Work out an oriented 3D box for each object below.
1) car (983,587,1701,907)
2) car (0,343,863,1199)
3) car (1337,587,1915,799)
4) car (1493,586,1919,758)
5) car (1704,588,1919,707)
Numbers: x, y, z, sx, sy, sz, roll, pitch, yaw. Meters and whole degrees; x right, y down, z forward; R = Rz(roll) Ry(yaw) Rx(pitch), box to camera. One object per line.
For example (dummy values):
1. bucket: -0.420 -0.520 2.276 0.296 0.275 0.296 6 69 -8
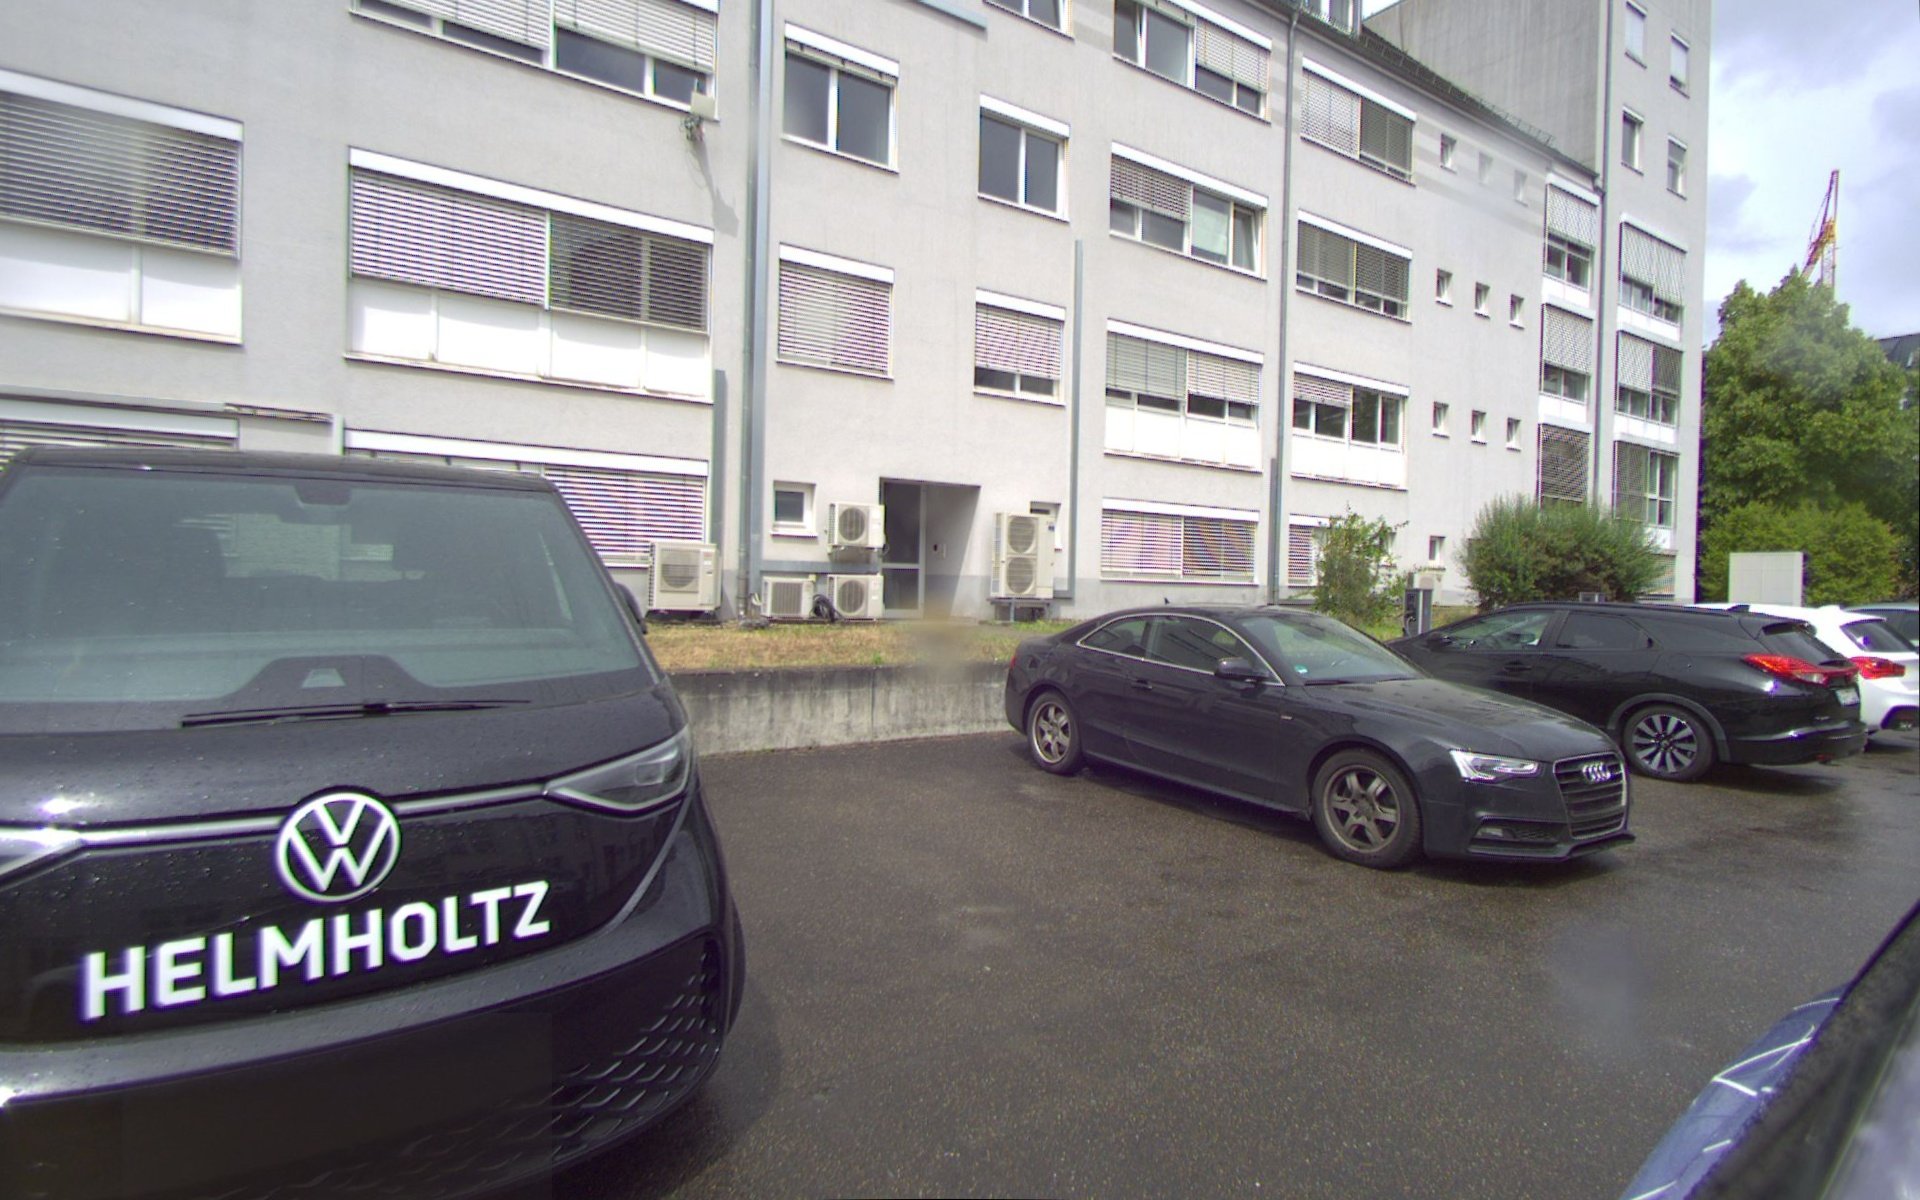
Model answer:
1. car: 2.179 0.670 6.995 1.824 1.365 4.370 1 1 -34
2. car: -2.438 0.408 3.923 2.070 1.856 4.728 1 2 -34
3. car: 6.005 0.656 9.651 1.902 1.418 4.186 0 2 -34
4. car: 8.677 0.654 11.660 1.797 1.473 4.115 1 2 -32
5. car: 13.004 0.636 13.947 1.635 1.476 4.097 -1 2 -31
